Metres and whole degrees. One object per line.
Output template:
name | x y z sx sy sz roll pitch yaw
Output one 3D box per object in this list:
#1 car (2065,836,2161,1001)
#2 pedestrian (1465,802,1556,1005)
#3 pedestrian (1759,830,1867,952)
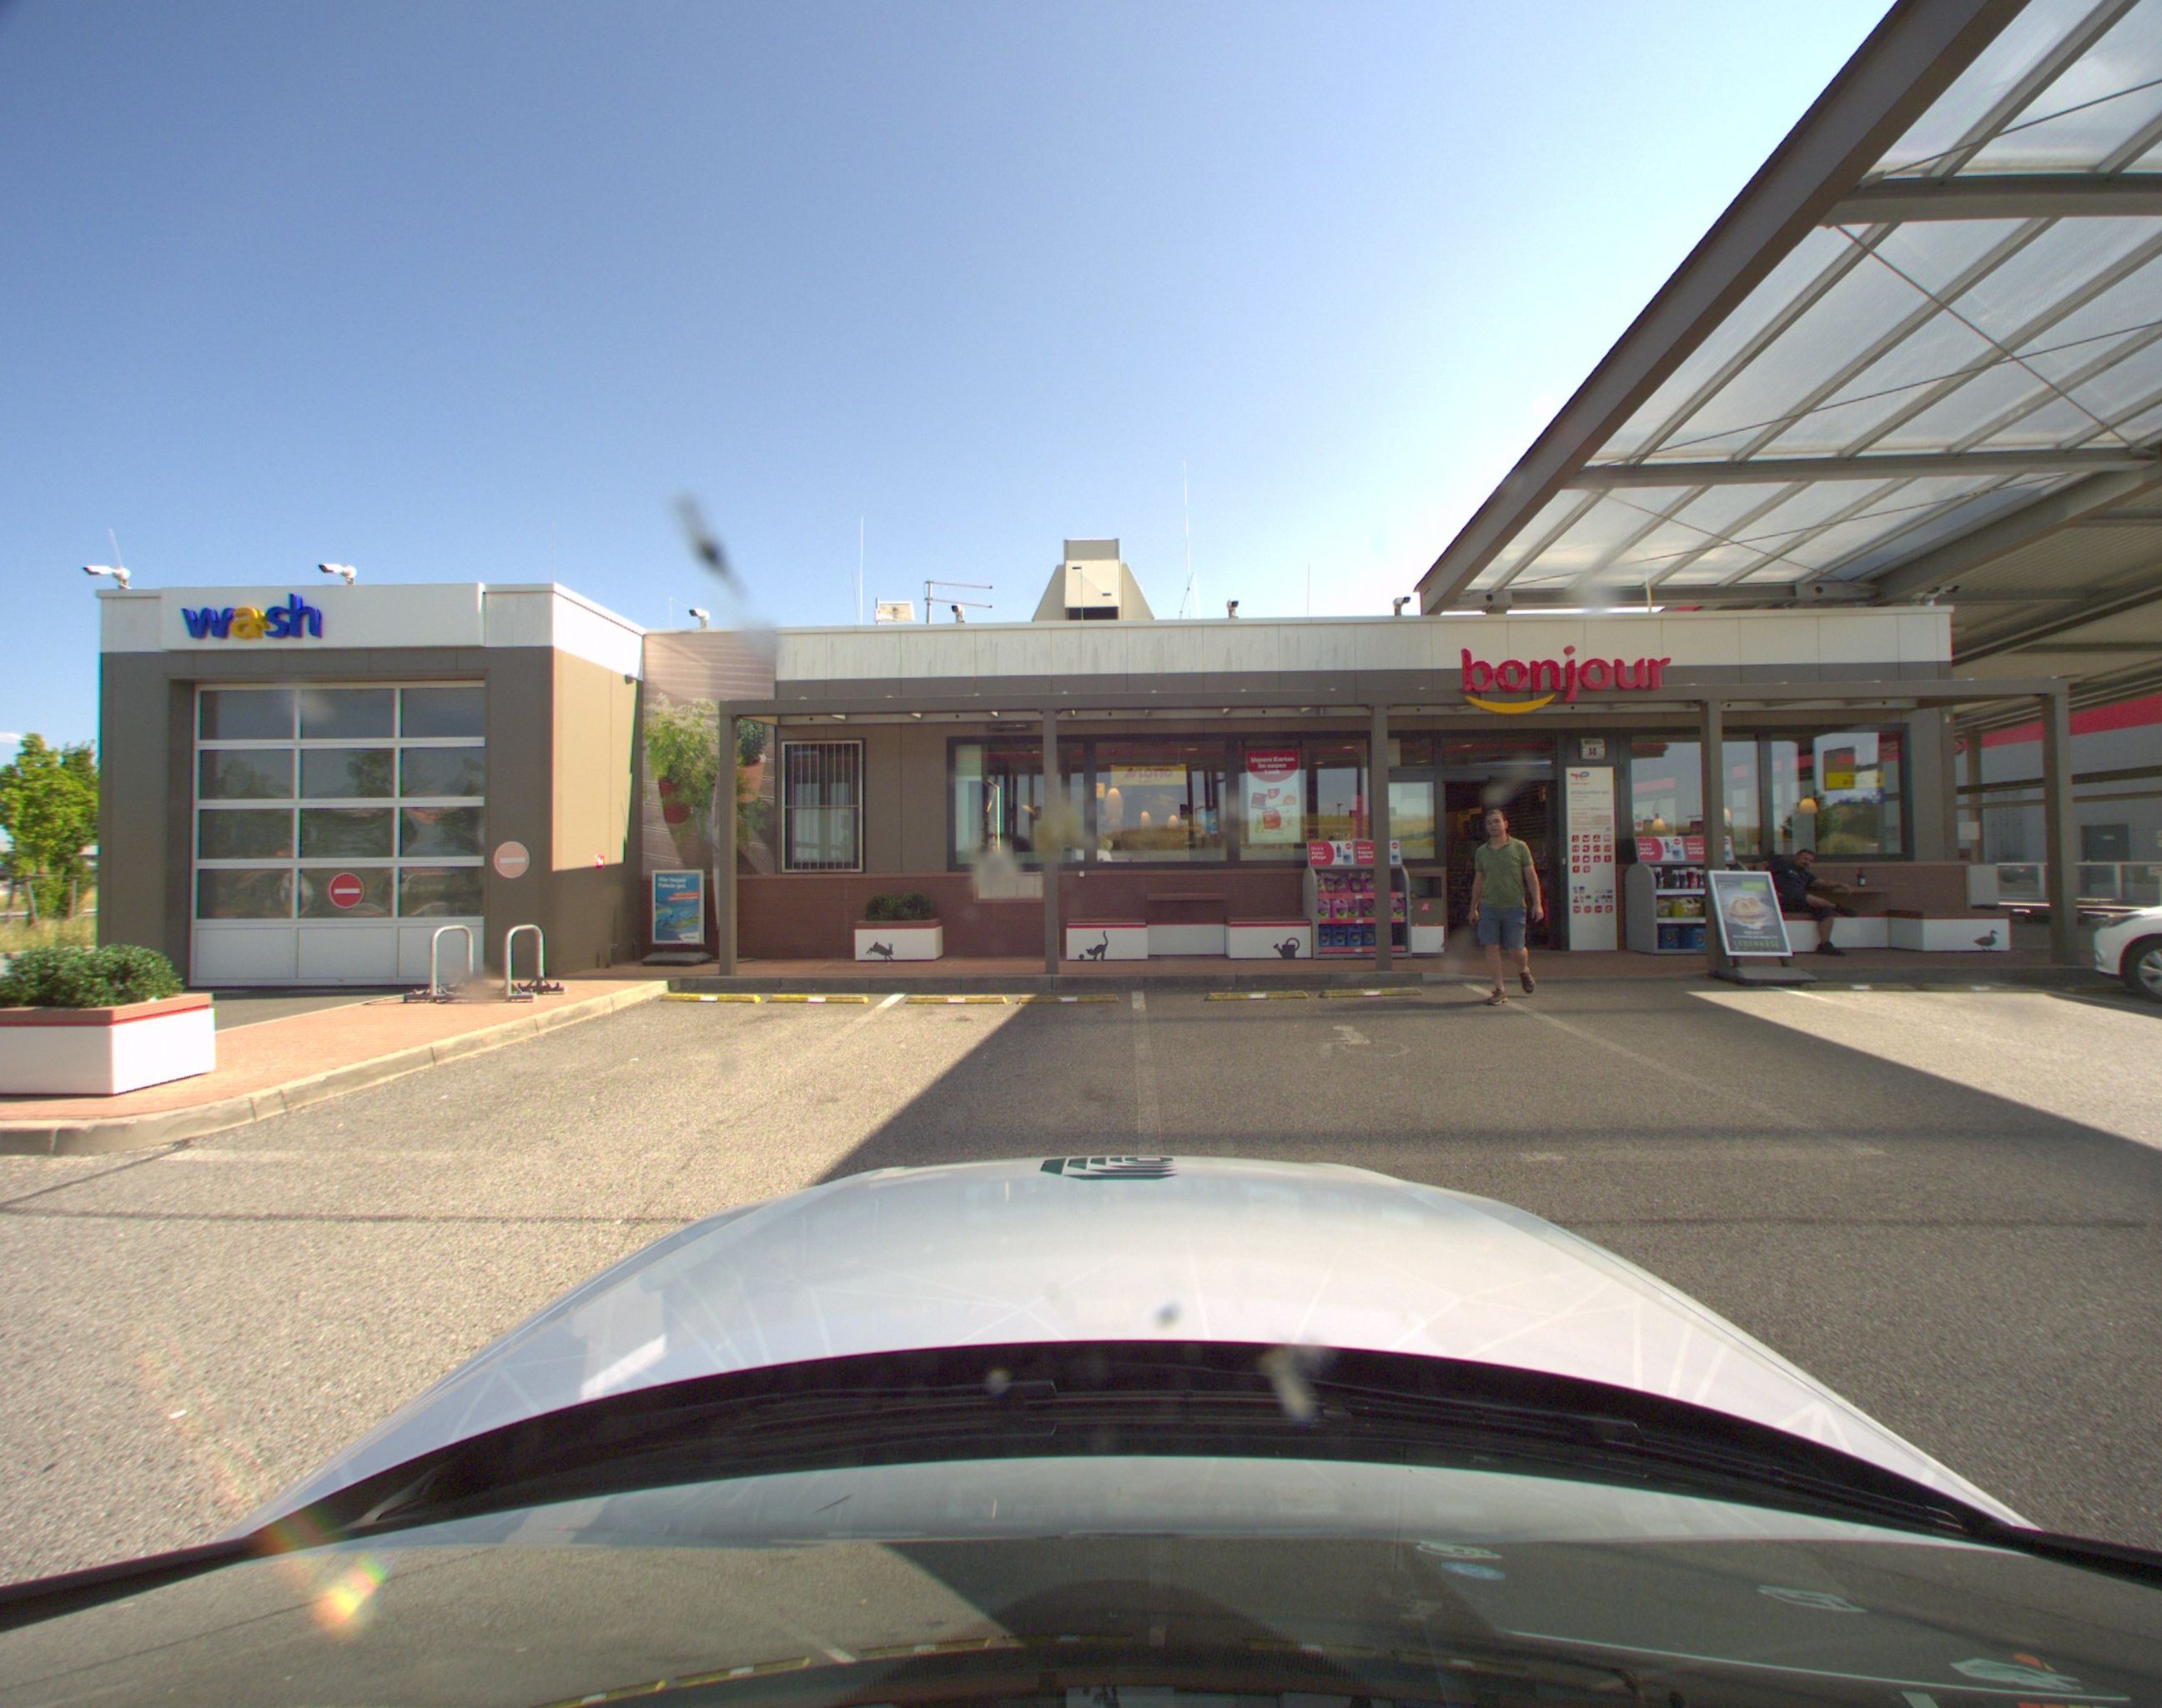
car | 10.562 0.550 5.785 1.826 1.457 4.315 -1 0 -4
pedestrian | 4.085 0.441 7.749 0.694 1.797 0.868 -1 -1 28
pedestrian | 8.921 0.436 9.954 0.698 1.432 0.673 -1 0 1
